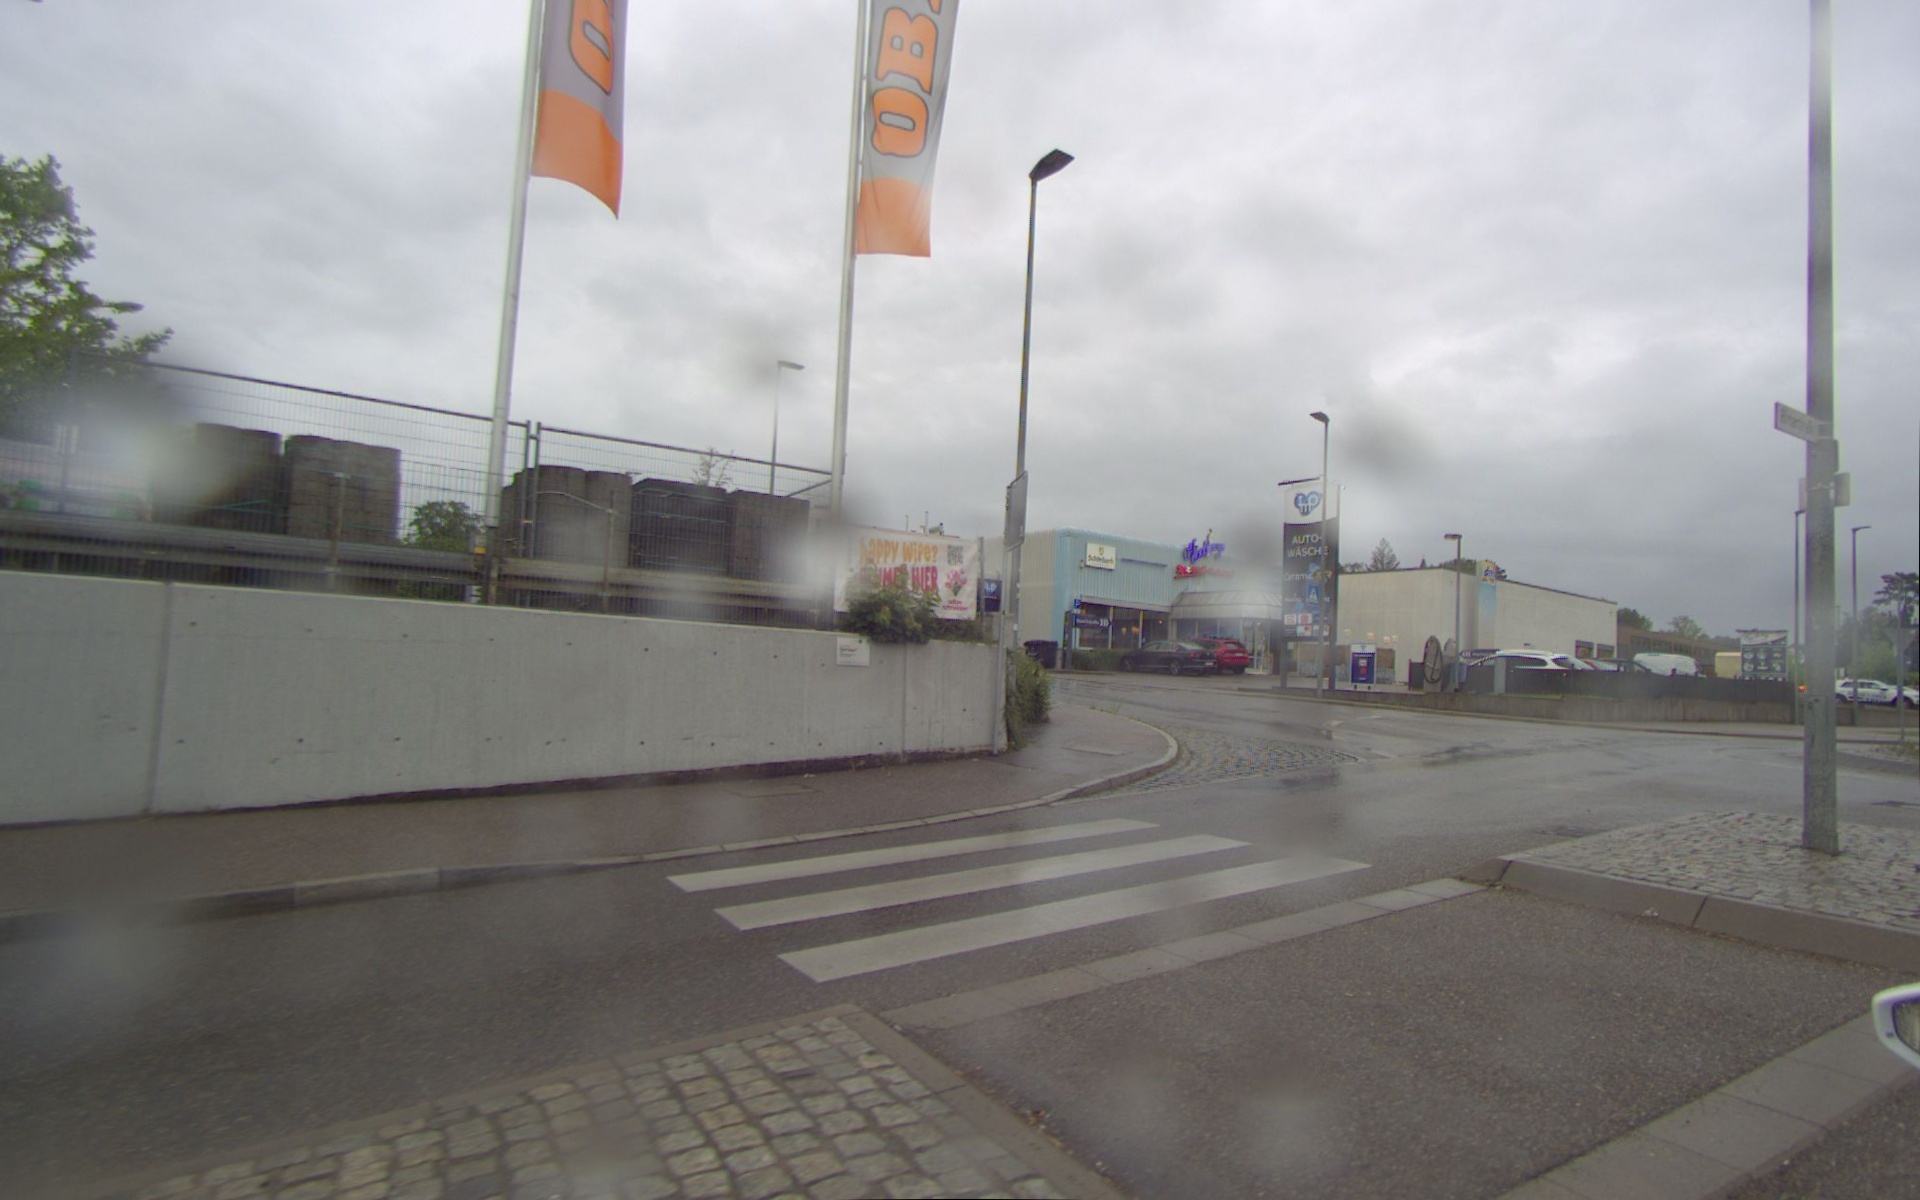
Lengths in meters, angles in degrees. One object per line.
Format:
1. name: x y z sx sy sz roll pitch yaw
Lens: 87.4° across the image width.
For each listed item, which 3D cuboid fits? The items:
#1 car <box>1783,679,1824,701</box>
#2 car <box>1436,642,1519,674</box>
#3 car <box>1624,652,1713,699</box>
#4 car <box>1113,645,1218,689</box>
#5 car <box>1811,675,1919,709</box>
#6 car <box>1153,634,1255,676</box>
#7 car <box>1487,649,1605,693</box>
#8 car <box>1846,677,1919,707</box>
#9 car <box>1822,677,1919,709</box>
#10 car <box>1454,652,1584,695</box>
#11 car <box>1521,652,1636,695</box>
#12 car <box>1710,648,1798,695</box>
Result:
1. car: 51.656 5.472 61.487 2.679 1.213 1.288 2 -2 -35
2. car: 26.248 2.953 51.020 1.416 1.438 3.507 6 -4 -35
3. car: 33.419 3.520 47.347 4.953 2.040 1.980 2 -2 -36
4. car: 8.660 2.818 42.541 1.985 1.638 3.954 6 -4 -40
5. car: 47.142 4.780 52.303 1.752 1.438 3.995 6 -4 -35
6. car: 10.811 2.421 44.634 1.987 1.638 3.950 6 -4 -42
7. car: 21.697 2.605 37.304 1.416 1.438 3.507 6 -4 -35
8. car: 50.822 5.027 54.380 1.752 1.438 3.995 6 -4 -35
9. car: 48.731 4.948 53.508 1.752 1.438 3.995 6 -4 -35
10. car: 19.806 2.600 35.680 1.981 1.302 3.507 6 -4 -35
11. car: 23.818 2.820 38.762 1.416 1.438 3.507 6 -4 -35
12. car: 37.573 3.329 47.508 4.951 2.040 1.980 2 -2 -36
